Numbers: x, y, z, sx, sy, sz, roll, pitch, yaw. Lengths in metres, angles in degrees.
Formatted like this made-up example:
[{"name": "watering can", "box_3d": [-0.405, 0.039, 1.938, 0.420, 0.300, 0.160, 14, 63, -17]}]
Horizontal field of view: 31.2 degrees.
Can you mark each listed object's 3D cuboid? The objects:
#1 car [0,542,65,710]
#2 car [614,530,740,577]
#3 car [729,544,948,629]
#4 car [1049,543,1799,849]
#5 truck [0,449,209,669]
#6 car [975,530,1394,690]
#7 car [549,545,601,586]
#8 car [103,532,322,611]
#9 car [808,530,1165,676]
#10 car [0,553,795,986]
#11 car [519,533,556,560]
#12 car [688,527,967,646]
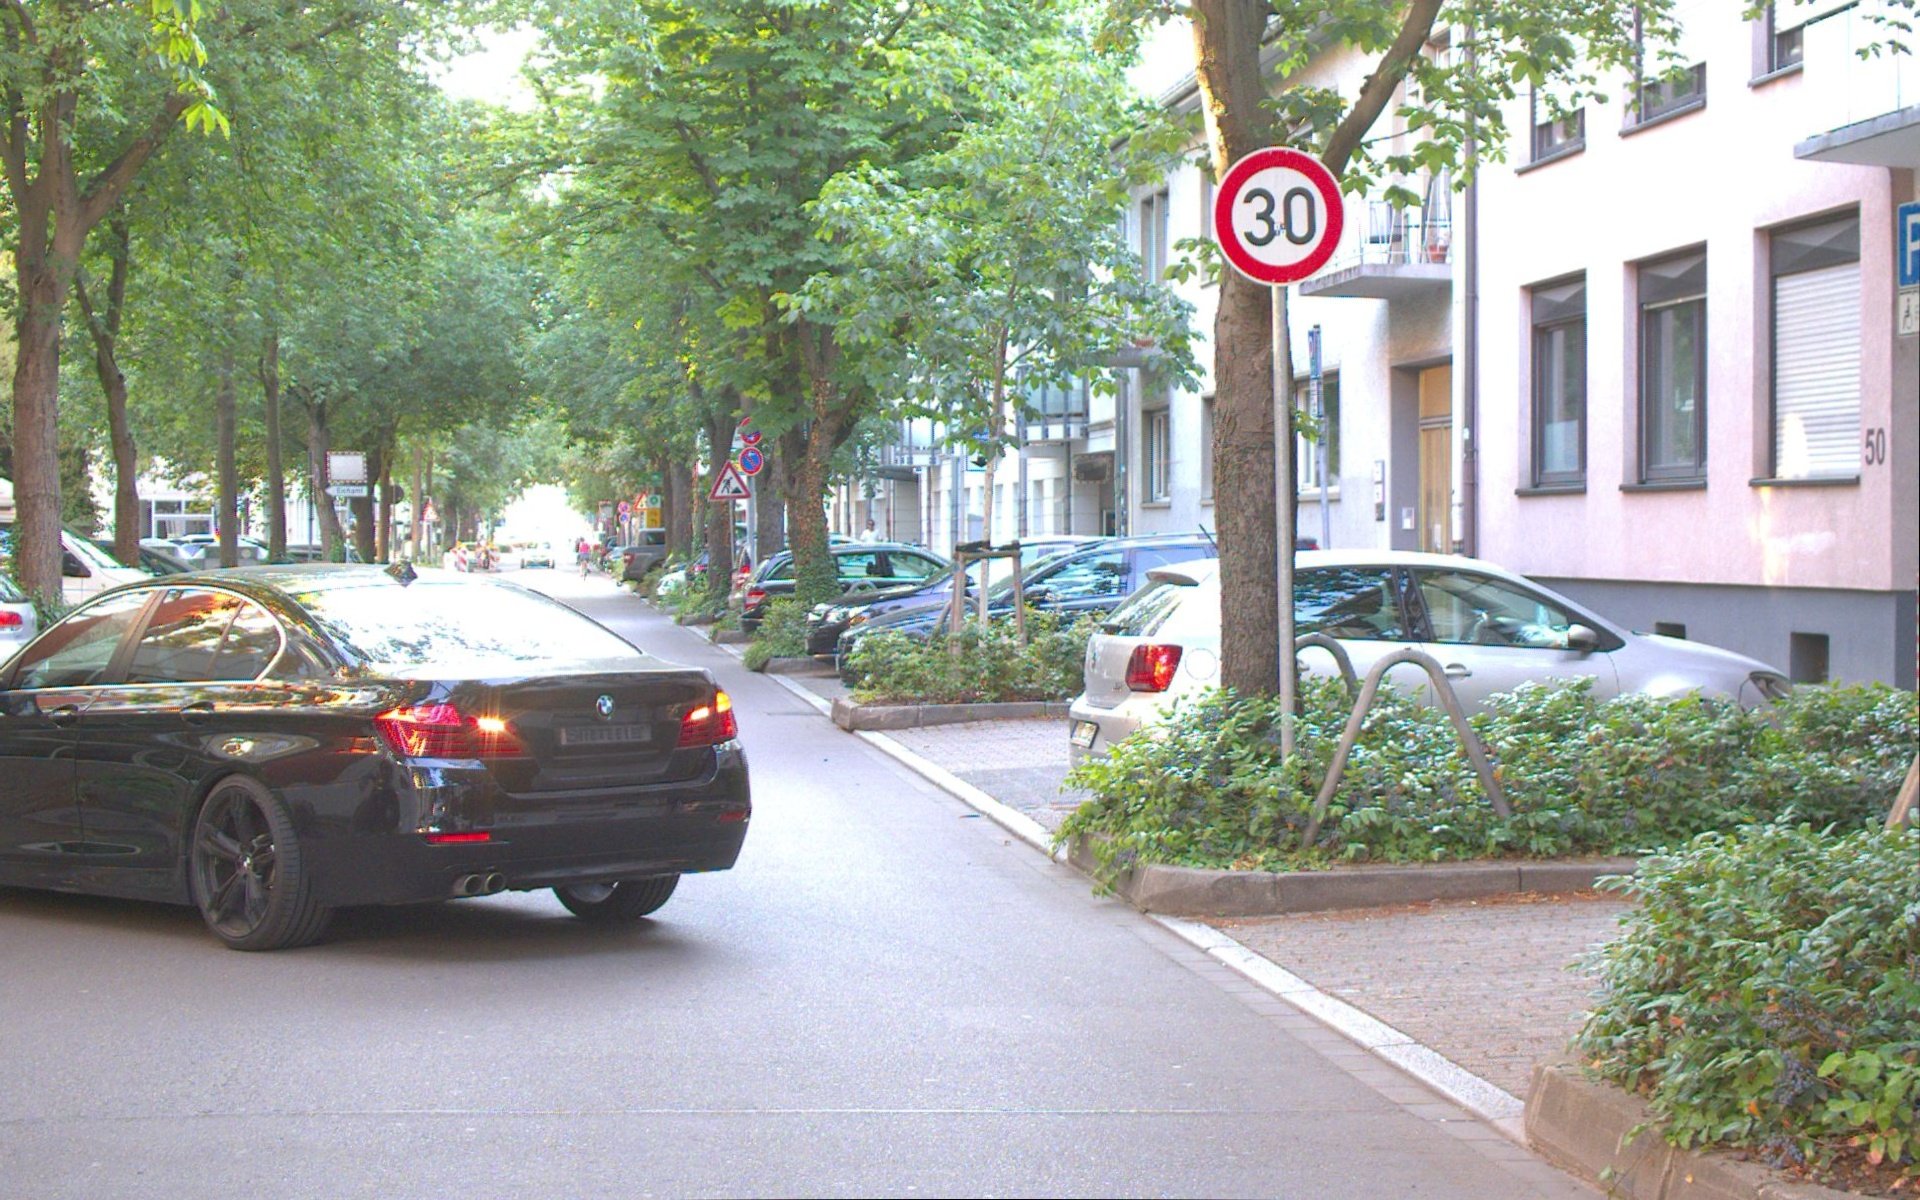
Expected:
[{"name": "car", "box_3d": [-10.312, 0.195, 31.023, 4.131, 1.466, 1.640, 1, 1, -7]}, {"name": "car", "box_3d": [-8.510, -1.404, 103.214, 3.656, 1.388, 1.566, 0, 1, -8]}, {"name": "car", "box_3d": [-2.146, -0.249, 60.317, 3.656, 1.388, 1.566, -1, 1, -8]}, {"name": "car", "box_3d": [2.422, 0.469, 18.351, 3.656, 1.474, 1.566, -1, 1, -8]}, {"name": "truck", "box_3d": [-11.257, -0.512, 39.284, 4.998, 2.432, 1.916, 1, 2, -5]}, {"name": "car", "box_3d": [2.076, 0.069, 32.272, 3.656, 1.388, 1.566, -1, 1, -8]}, {"name": "car", "box_3d": [-15.139, -1.380, 135.059, 1.993, 1.546, 4.001, 0, 1, -7]}, {"name": "car", "box_3d": [-14.514, -0.558, 66.913, 4.020, 1.466, 1.640, 1, 1, -7]}, {"name": "car", "box_3d": [0.274, 0.013, 38.626, 3.791, 1.524, 1.566, -1, 1, -8]}, {"name": "car", "box_3d": [-2.888, 0.551, 14.057, 1.763, 1.445, 4.665, -1, 2, -45]}, {"name": "car", "box_3d": [-22.935, -2.906, 186.660, 1.894, 1.470, 4.001, 0, 1, -6]}, {"name": "car", "box_3d": [-1.843, -0.201, 47.249, 3.656, 1.531, 1.566, -1, 1, -8]}]
